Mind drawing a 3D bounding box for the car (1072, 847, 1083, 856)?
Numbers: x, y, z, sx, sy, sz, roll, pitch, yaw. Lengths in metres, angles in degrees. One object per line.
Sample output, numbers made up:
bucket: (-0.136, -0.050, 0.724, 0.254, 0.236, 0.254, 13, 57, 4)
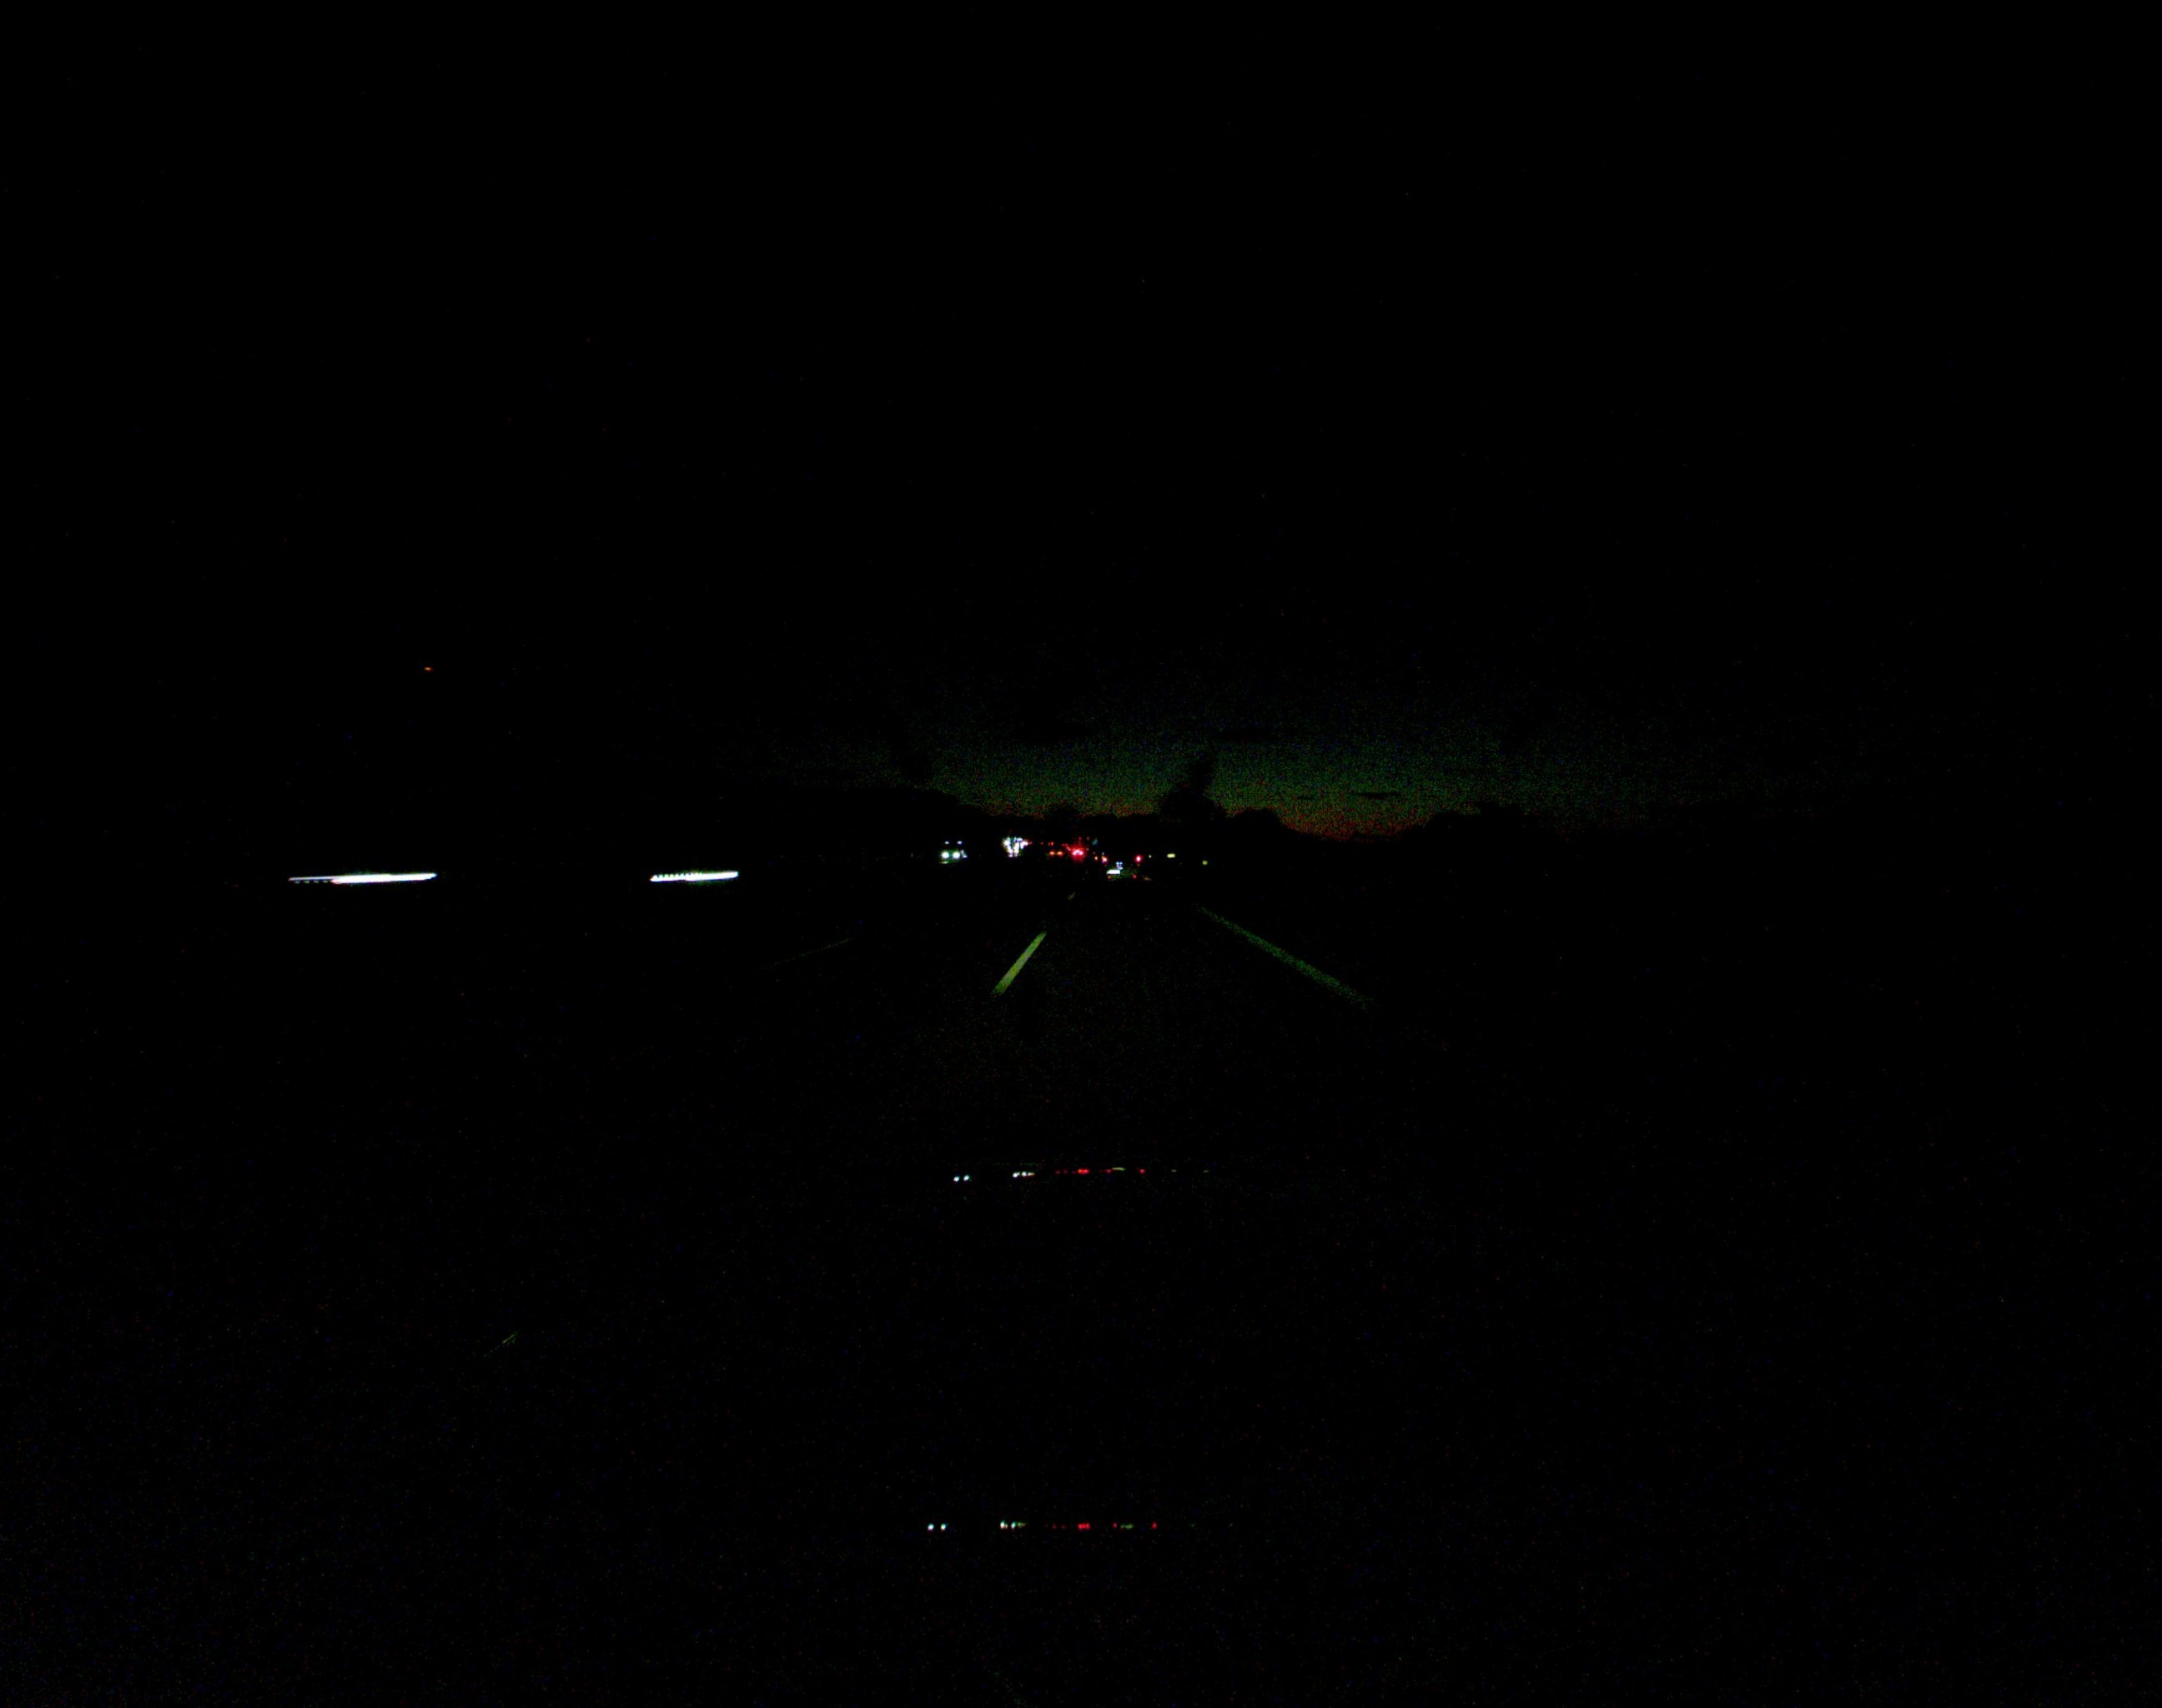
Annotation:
car: (-0.673, -0.516, 164.377, 1.987, 1.794, 4.000, -1, -1, 0)

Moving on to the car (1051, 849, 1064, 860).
car: (-3.864, 0.061, 135.166, 1.987, 1.816, 3.999, -1, -1, 0)

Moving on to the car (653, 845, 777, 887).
car: (-14.631, 0.472, 32.981, 2.550, 1.556, 5.111, 0, 0, 2)

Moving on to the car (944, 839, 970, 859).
car: (-19.489, -0.779, 128.281, 2.641, 3.085, 8.219, 0, 1, 2)

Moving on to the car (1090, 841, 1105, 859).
car: (2.554, -0.693, 124.648, 2.027, 2.646, 5.721, 0, 1, -2)

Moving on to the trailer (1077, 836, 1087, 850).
trailer: (0.339, -3.425, 258.629, 2.821, 4.257, 17.037, 0, -1, -1)

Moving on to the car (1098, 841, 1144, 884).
car: (1.967, 0.374, 41.470, 2.108, 2.000, 5.664, 0, 1, 0)

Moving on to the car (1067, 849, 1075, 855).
car: (-2.897, -0.525, 231.437, 1.986, 1.794, 4.002, -1, -1, 2)

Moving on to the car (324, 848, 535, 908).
car: (-21.165, 0.722, 26.931, 2.046, 1.782, 5.944, 0, 0, 2)

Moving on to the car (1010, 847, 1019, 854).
car: (-16.700, -0.906, 205.023, 1.817, 1.694, 4.672, -1, -1, 0)
